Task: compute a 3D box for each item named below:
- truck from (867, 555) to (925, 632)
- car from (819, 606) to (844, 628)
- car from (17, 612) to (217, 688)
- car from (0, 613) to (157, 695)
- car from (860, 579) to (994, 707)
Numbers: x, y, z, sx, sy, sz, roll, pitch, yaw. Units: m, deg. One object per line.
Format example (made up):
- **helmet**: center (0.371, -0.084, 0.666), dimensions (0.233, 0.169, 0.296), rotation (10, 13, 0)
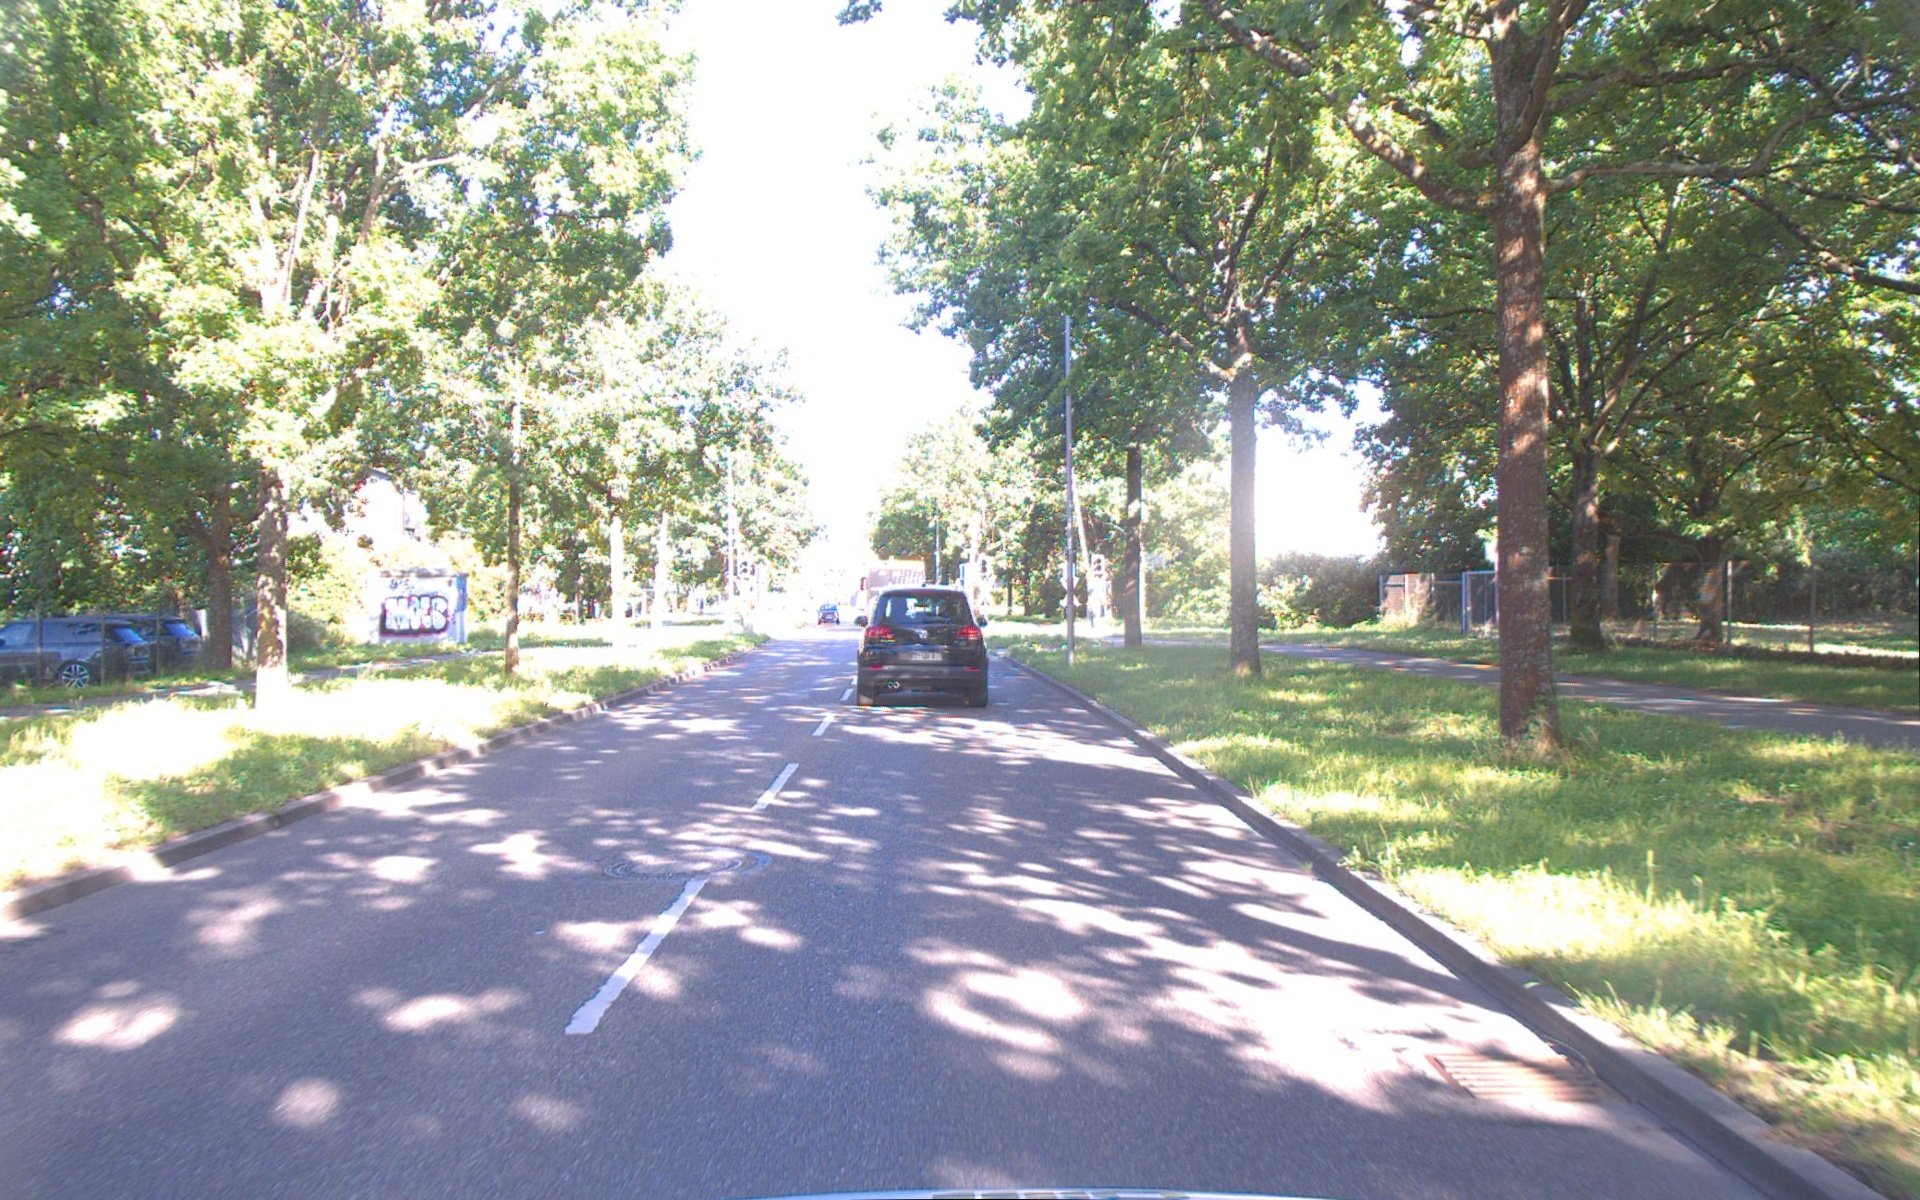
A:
- **truck**: center (-2.874, -0.281, 75.020), dimensions (2.461, 3.300, 8.148), rotation (0, 0, -2)
- **car**: center (-9.489, 1.242, 122.548), dimensions (1.533, 1.531, 4.000), rotation (1, 0, 0)
- **car**: center (-21.649, 1.264, 42.620), dimensions (4.109, 1.833, 1.998), rotation (1, 0, -6)
- **car**: center (-21.874, 1.274, 39.760), dimensions (4.109, 1.833, 1.998), rotation (1, 0, -6)
- **car**: center (-0.503, 0.577, 23.921), dimensions (1.746, 1.662, 3.998), rotation (1, 0, -2)
